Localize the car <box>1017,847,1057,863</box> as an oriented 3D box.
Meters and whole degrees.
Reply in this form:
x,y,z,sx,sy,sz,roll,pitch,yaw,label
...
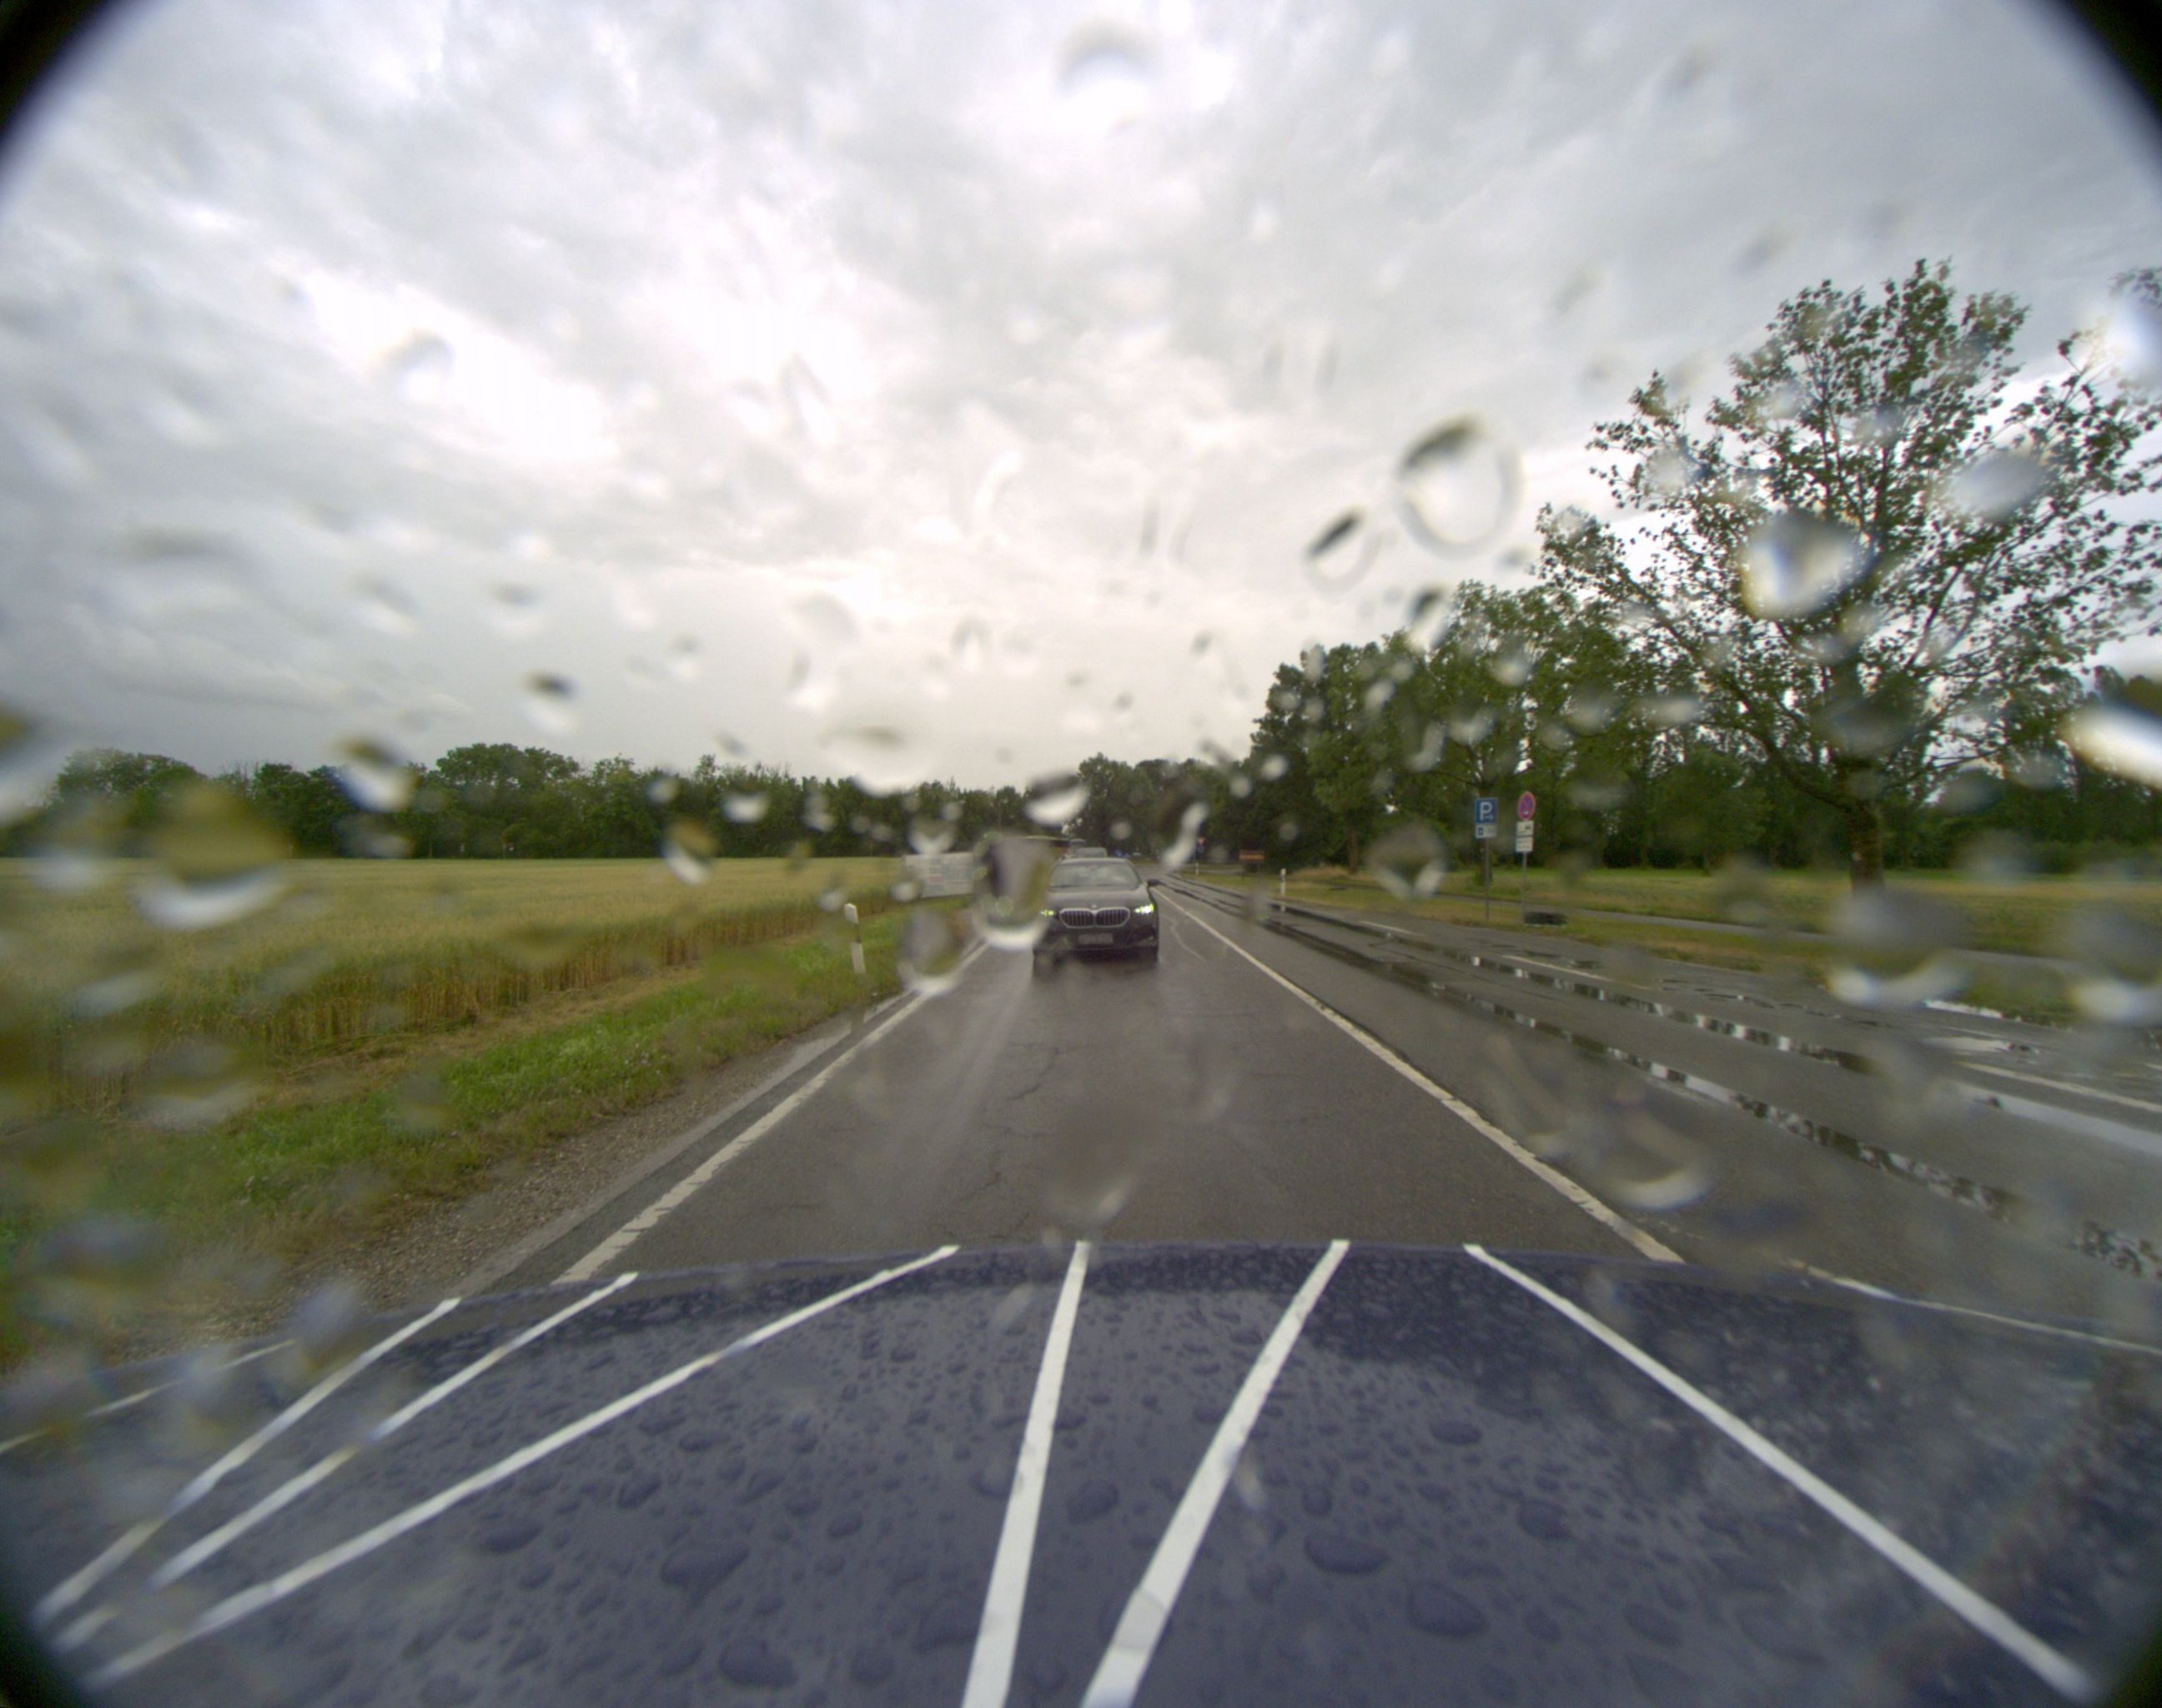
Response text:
x,y,z,sx,sy,sz,roll,pitch,yaw,label
-4.440,0.124,76.673,1.896,1.522,4.490,-2,1,-35,car

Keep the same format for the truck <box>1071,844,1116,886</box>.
x,y,z,sx,sy,sz,roll,pitch,yaw,label
0.587,0.541,41.455,2.076,2.050,5.768,-3,0,-2,truck

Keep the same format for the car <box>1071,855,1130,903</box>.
x,y,z,sx,sy,sz,roll,pitch,yaw,label
0.630,0.829,27.105,1.892,1.482,4.191,-2,0,-1,car

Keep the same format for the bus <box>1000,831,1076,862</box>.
x,y,z,sx,sy,sz,roll,pitch,yaw,label
-5.289,-0.945,98.696,2.990,3.665,14.321,1,1,28,bus

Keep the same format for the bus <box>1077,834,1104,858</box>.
x,y,z,sx,sy,sz,roll,pitch,yaw,label
1.682,-1.238,119.601,2.854,3.417,14.300,1,1,6,bus

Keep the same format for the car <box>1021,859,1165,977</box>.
x,y,z,sx,sy,sz,roll,pitch,yaw,label
0.214,0.873,12.170,1.891,1.484,4.035,-1,0,2,car

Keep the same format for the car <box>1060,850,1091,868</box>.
x,y,z,sx,sy,sz,roll,pitch,yaw,label
-0.525,0.407,67.495,1.893,1.522,4.497,-1,0,-11,car
